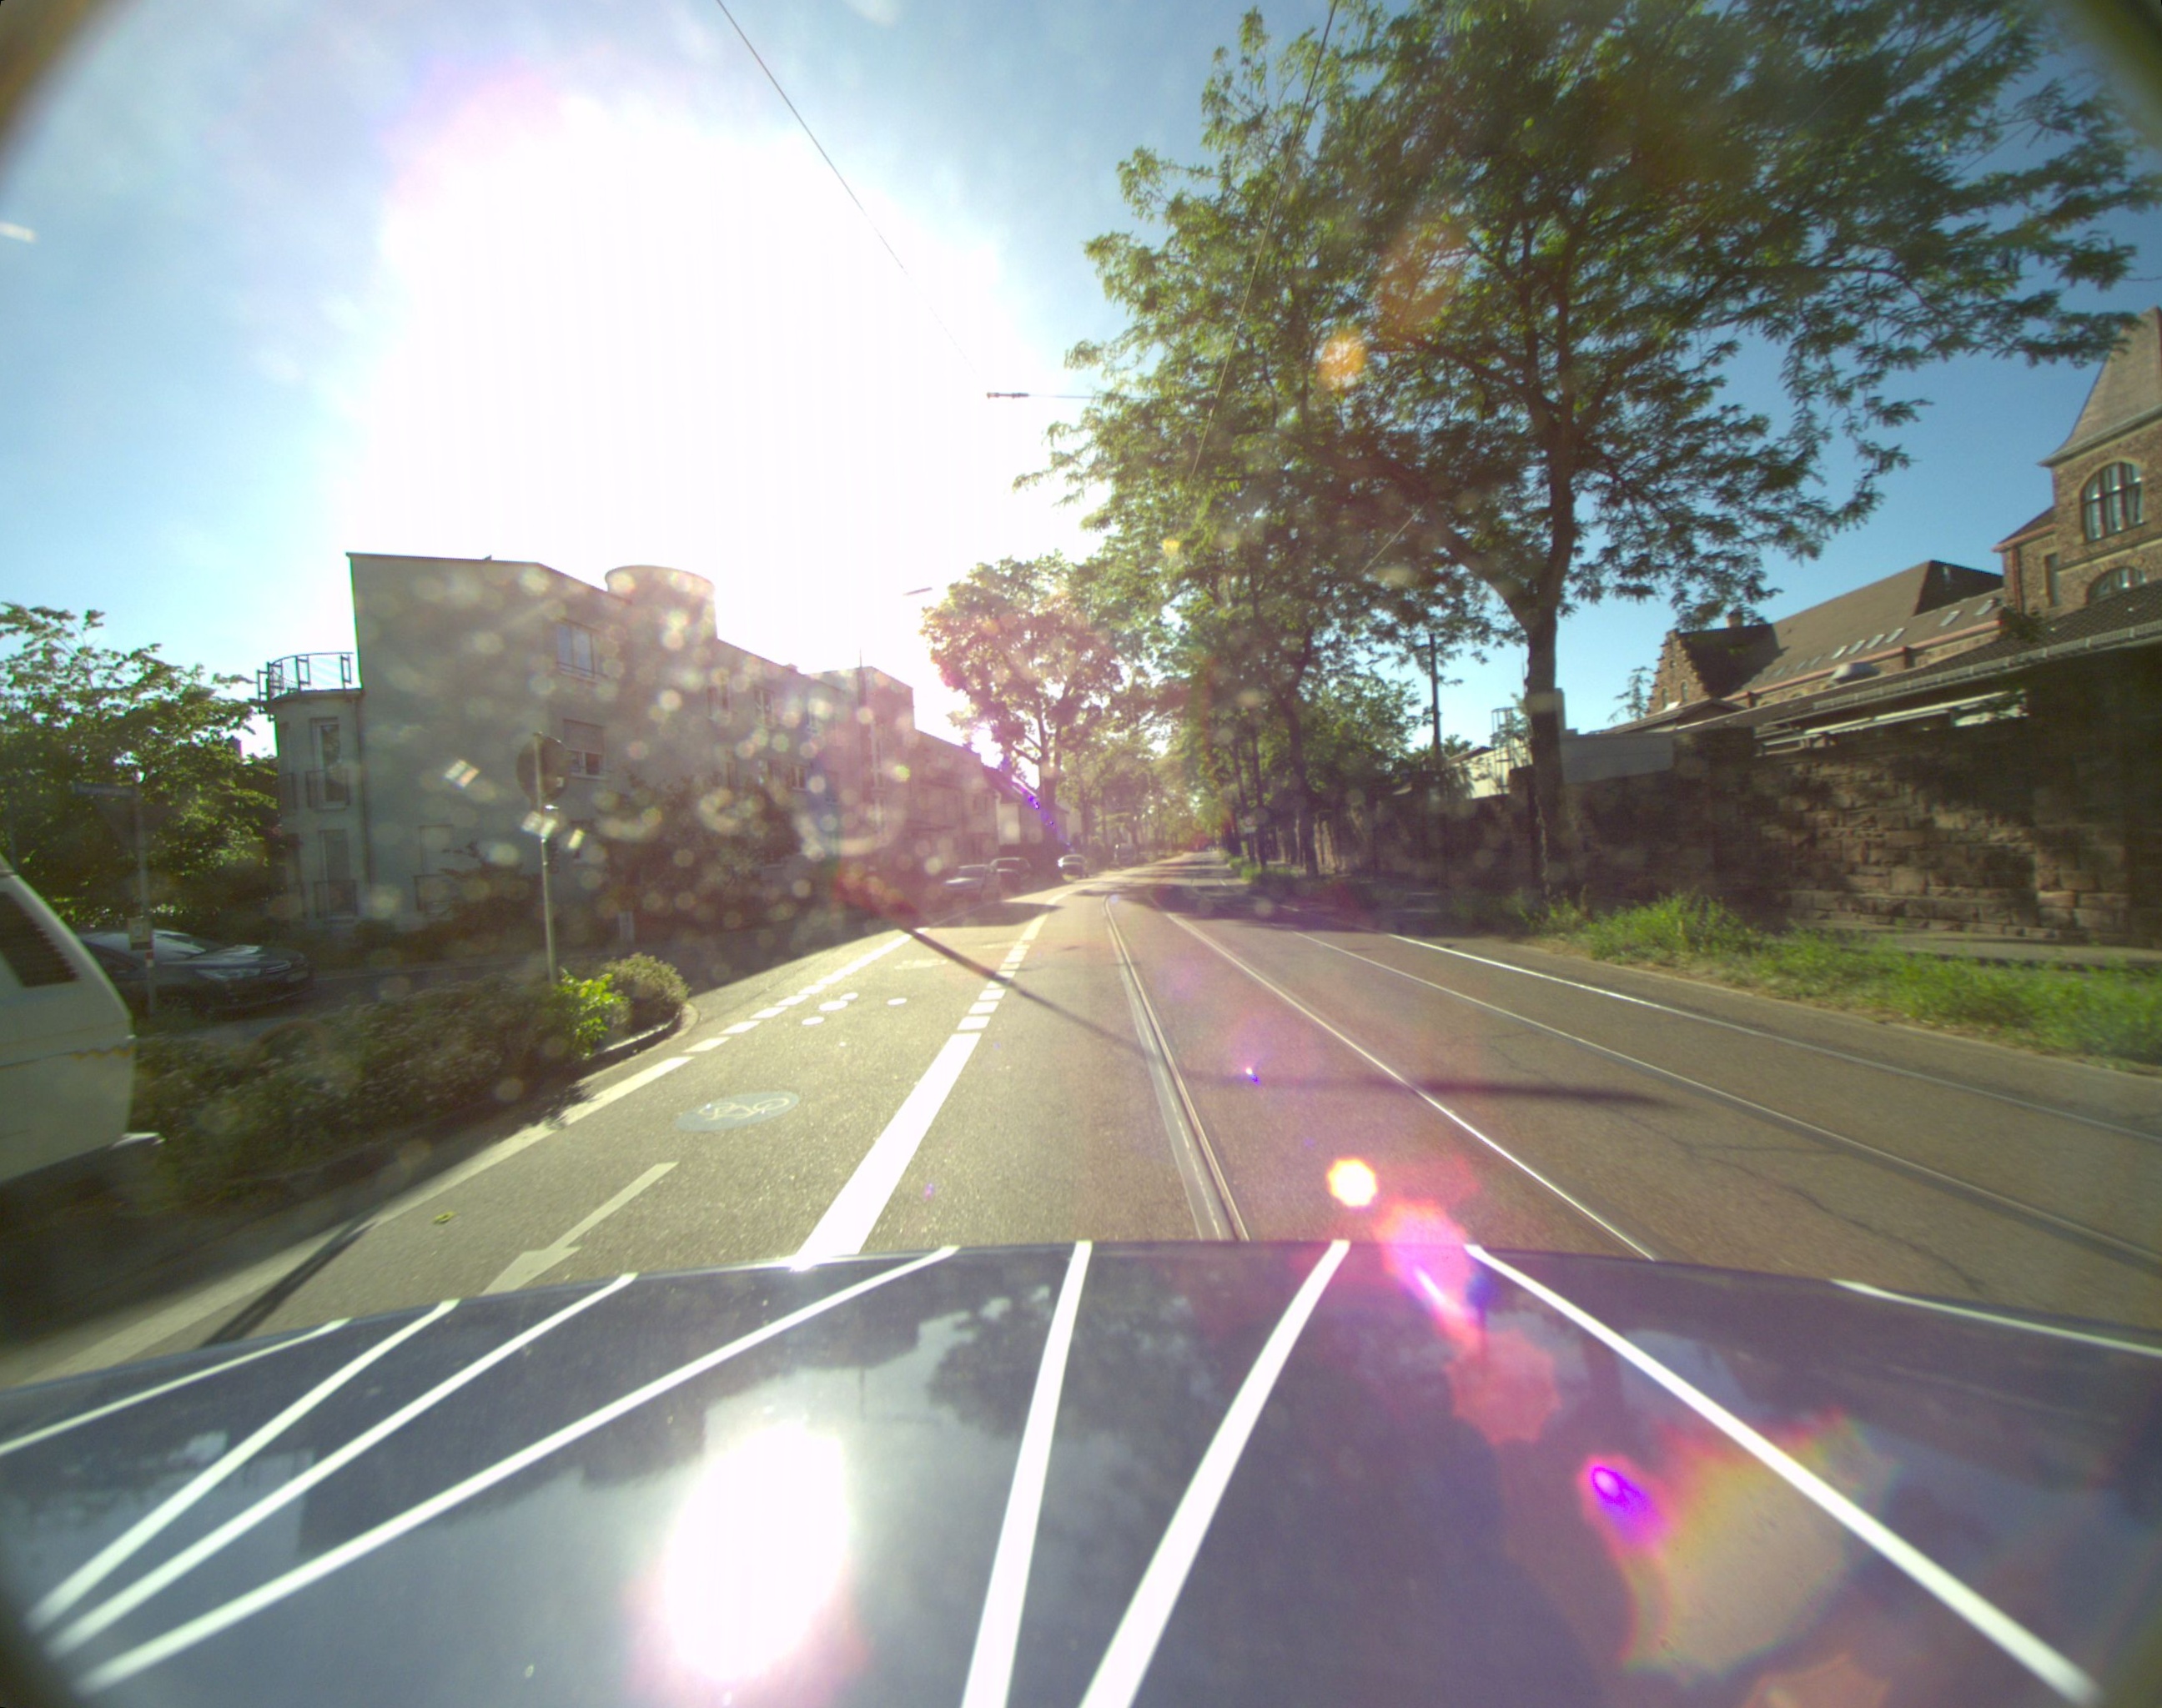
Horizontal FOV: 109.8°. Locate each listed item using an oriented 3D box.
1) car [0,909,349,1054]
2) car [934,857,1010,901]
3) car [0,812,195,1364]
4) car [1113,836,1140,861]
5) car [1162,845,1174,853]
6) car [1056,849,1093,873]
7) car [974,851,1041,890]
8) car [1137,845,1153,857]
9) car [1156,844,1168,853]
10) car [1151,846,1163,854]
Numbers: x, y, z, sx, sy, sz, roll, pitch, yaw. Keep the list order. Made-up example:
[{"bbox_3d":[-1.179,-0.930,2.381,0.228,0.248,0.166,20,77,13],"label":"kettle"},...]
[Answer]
[{"bbox_3d":[-14.175,1.834,11.105,4.465,1.482,2.005,-3,4,-17],"label":"car"},{"bbox_3d":[-4.450,0.966,31.678,1.741,1.487,4.532,-4,1,10],"label":"car"},{"bbox_3d":[-5.087,0.945,1.099,1.999,2.083,4.715,-3,1,-1],"label":"car"},{"bbox_3d":[5.223,-0.634,86.384,2.295,2.575,5.722,-4,1,10],"label":"car"},{"bbox_3d":[17.371,-1.032,152.147,1.997,1.411,4.001,-3,3,10],"label":"car"},{"bbox_3d":[-0.414,0.463,54.540,1.879,1.509,4.651,-4,1,8],"label":"car"},{"bbox_3d":[-3.521,0.758,37.352,1.997,1.607,4.603,-2,1,11],"label":"car"},{"bbox_3d":[9.069,-0.409,107.407,1.662,1.527,4.003,-3,1,14],"label":"car"},{"bbox_3d":[14.975,-1.013,140.404,1.997,1.474,4.002,-3,1,10],"label":"car"},{"bbox_3d":[13.108,-0.700,131.178,1.787,1.369,3.657,-4,1,10],"label":"car"}]
